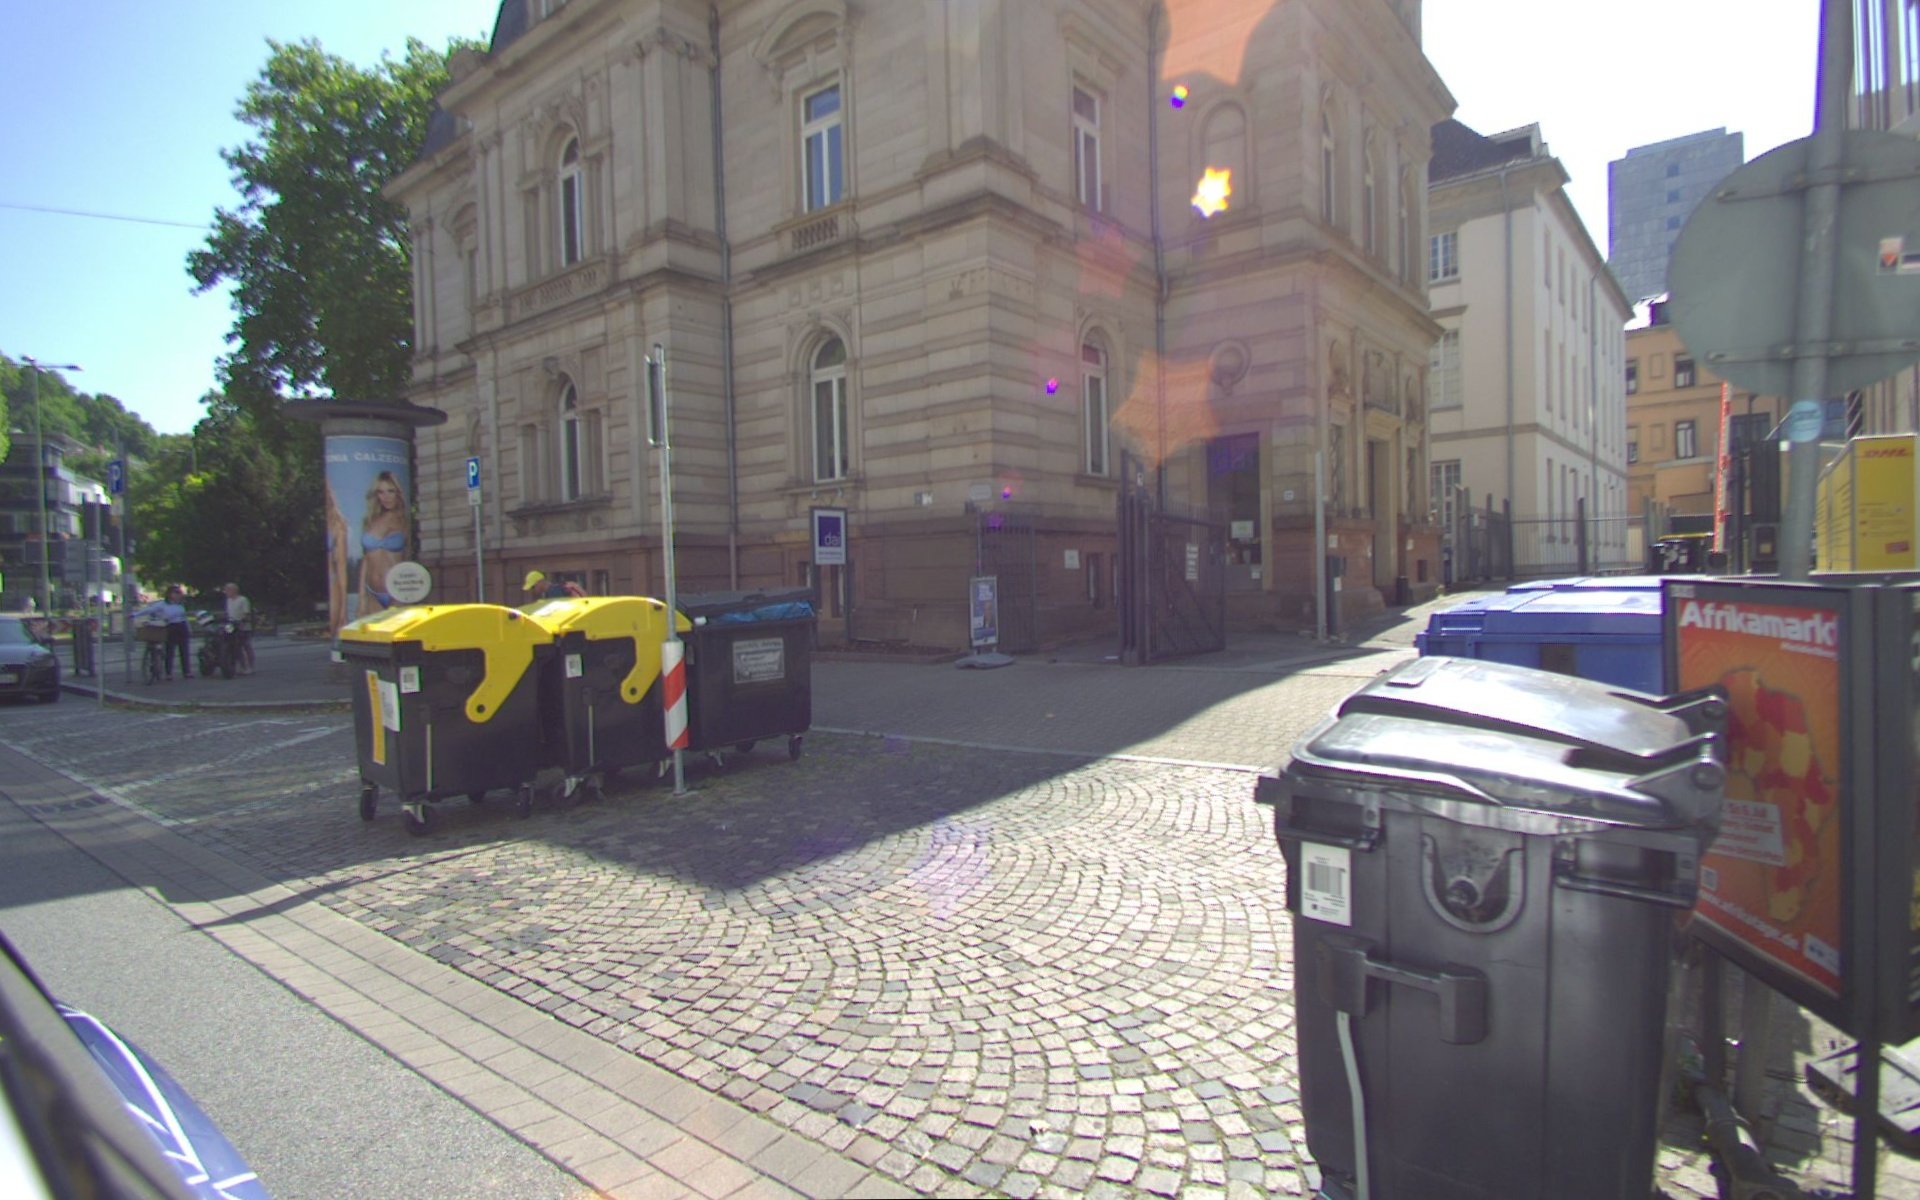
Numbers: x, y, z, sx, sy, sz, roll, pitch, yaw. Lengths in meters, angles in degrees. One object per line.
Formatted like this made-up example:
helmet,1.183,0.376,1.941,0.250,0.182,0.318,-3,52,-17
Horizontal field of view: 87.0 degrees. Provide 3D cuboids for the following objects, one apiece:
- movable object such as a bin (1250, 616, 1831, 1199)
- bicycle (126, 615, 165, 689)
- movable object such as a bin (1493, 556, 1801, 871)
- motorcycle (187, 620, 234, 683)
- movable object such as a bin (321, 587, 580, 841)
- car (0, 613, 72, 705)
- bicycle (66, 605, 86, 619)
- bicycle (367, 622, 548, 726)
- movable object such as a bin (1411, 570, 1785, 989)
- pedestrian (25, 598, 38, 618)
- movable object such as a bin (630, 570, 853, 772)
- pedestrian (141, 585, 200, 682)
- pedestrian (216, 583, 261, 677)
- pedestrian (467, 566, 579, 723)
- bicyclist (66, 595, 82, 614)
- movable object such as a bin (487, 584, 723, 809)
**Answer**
movable object such as a bin,1.312,0.722,2.215,0.852,1.309,1.265,-1,1,39
bicycle,-14.380,0.875,17.850,0.424,1.128,2.247,-4,4,-40
movable object such as a bin,3.482,0.483,5.124,1.126,1.309,1.197,-3,2,39
motorcycle,-13.560,0.896,18.295,0.448,1.005,2.164,-4,3,-41
movable object such as a bin,-3.506,0.698,6.938,1.439,1.461,1.111,-2,2,45
car,-16.262,0.955,16.628,4.247,1.364,1.917,-2,0,41
bicycle,-77.691,1.022,88.948,0.747,1.129,2.008,-1,2,-24
bicycle,-6.186,0.870,12.585,0.668,1.025,1.951,-1,3,28
movable object such as a bin,2.586,0.587,4.074,1.078,1.309,1.197,-3,2,39
pedestrian,-81.663,0.698,89.044,0.699,1.685,0.536,-2,2,-31
movable object such as a bin,-1.835,0.538,8.470,1.364,1.461,1.195,-2,2,45
pedestrian,-14.269,0.583,18.293,0.690,1.707,0.687,1,2,42
pedestrian,-13.277,0.528,18.619,0.542,1.677,0.938,-2,2,-42
pedestrian,-5.095,0.492,11.832,0.746,1.738,0.882,-1,1,32
bicyclist,-77.605,0.386,88.671,0.753,1.648,0.946,-2,2,-25
movable object such as a bin,-2.726,0.667,7.737,1.439,1.461,1.111,-2,2,45
